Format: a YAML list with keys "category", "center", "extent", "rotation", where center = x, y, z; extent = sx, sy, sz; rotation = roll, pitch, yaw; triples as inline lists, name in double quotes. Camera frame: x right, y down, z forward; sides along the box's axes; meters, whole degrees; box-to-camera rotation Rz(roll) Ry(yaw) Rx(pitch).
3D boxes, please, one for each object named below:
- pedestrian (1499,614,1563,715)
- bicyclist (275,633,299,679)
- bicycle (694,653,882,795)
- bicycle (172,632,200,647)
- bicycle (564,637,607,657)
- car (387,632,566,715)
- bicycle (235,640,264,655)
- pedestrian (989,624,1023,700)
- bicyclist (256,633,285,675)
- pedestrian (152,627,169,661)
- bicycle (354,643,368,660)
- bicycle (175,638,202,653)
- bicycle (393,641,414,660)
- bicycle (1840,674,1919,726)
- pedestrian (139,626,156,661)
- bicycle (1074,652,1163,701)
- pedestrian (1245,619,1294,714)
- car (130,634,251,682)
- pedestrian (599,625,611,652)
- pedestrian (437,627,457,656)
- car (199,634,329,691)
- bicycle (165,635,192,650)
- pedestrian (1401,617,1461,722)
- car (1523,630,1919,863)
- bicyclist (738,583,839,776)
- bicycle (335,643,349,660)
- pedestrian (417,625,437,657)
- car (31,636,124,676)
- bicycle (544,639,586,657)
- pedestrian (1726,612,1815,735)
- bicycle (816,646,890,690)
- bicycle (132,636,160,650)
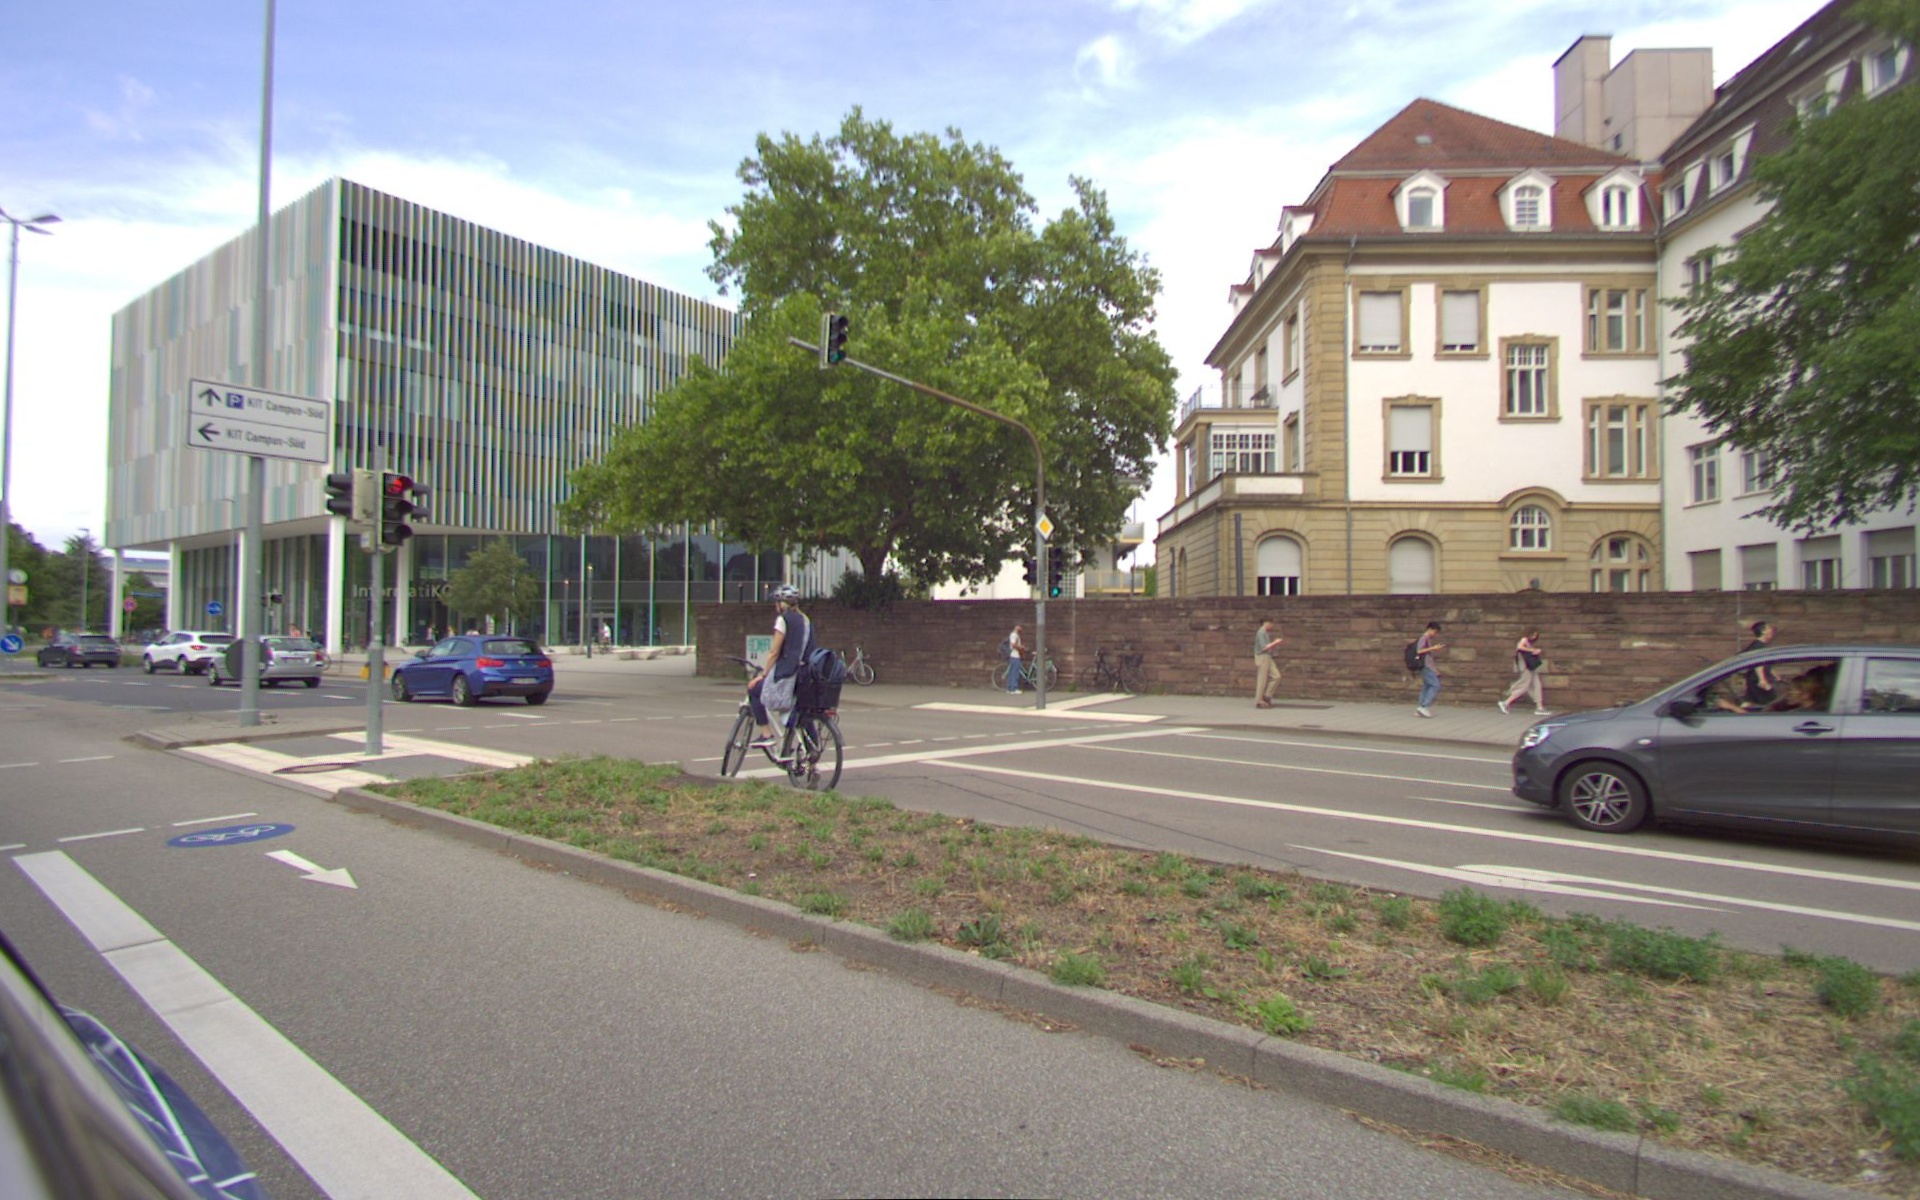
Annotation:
- category: "pedestrian"
  center: [10.457, 1.161, 18.549]
  extent: [0.775, 1.796, 0.759]
  rotation: [1, -1, 9]
- category: "bicyclist"
  center: [-26.996, 2.232, 40.580]
  extent: [0.558, 1.820, 0.597]
  rotation: [-1, -1, 23]
- category: "bicycle"
  center: [-1.517, 1.004, 8.685]
  extent: [1.927, 1.063, 0.567]
  rotation: [-2, -3, 44]
- category: "bicycle"
  center: [-57.451, 2.913, 75.160]
  extent: [0.388, 1.031, 1.565]
  rotation: [-1, -4, 32]
- category: "bicycle"
  center: [-21.889, 2.741, 59.236]
  extent: [0.792, 1.098, 2.663]
  rotation: [-1, -2, 22]
- category: "car"
  center: [-10.100, 1.454, 21.038]
  extent: [4.100, 1.523, 1.783]
  rotation: [-1, -2, 40]
- category: "bicycle"
  center: [-47.227, 3.165, 67.294]
  extent: [0.388, 0.944, 1.529]
  rotation: [-1, -1, 32]
- category: "pedestrian"
  center: [1.121, 1.498, 24.680]
  extent: [0.774, 1.796, 0.746]
  rotation: [1, -1, 6]
- category: "bicyclist"
  center: [-28.383, 2.201, 41.667]
  extent: [0.719, 1.685, 0.723]
  rotation: [-1, -1, 23]
- category: "pedestrian"
  center: [-43.444, 2.384, 54.991]
  extent: [0.623, 1.851, 0.506]
  rotation: [-3, -3, 36]
- category: "bicycle"
  center: [-35.526, 3.058, 60.037]
  extent: [0.387, 0.944, 1.603]
  rotation: [-1, 0, -20]
- category: "bicycle"
  center: [-56.919, 3.345, 74.695]
  extent: [0.388, 1.031, 1.565]
  rotation: [-1, -1, 32]
- category: "bicycle"
  center: [-32.930, 2.976, 59.906]
  extent: [0.388, 1.037, 1.546]
  rotation: [-1, 0, 0]
- category: "bicycle"
  center: [15.462, 1.623, 16.489]
  extent: [1.615, 0.803, 0.437]
  rotation: [-2, -1, 31]
- category: "pedestrian"
  center: [-43.782, 2.350, 54.558]
  extent: [0.771, 1.851, 0.506]
  rotation: [-3, -3, 37]
- category: "bicycle"
  center: [3.691, 1.776, 23.643]
  extent: [1.975, 1.066, 0.544]
  rotation: [-2, 0, 34]
- category: "pedestrian"
  center: [6.064, 1.283, 19.881]
  extent: [0.774, 1.796, 0.745]
  rotation: [1, -1, 8]
- category: "car"
  center: [-28.275, 2.087, 37.171]
  extent: [4.402, 1.665, 1.852]
  rotation: [-1, -2, 28]
- category: "pedestrian"
  center: [-22.959, 2.485, 65.431]
  extent: [0.626, 1.792, 0.597]
  rotation: [0, -2, -8]
- category: "pedestrian"
  center: [-28.330, 2.301, 55.887]
  extent: [0.670, 1.612, 0.729]
  rotation: [0, -2, 6]
- category: "car"
  center: [-19.663, 1.707, 28.550]
  extent: [4.282, 1.500, 1.784]
  rotation: [-2, -3, 38]
- category: "bicycle"
  center: [-58.390, 3.160, 75.665]
  extent: [0.388, 1.031, 1.565]
  rotation: [-1, -1, 32]
- category: "pedestrian"
  center: [8.349, 1.217, 17.970]
  extent: [0.775, 1.796, 0.759]
  rotation: [1, -1, 10]
- category: "car"
  center: [6.356, 0.988, 7.420]
  extent: [3.635, 1.500, 1.555]
  rotation: [-2, -4, 42]
- category: "bicyclist"
  center: [-1.488, 0.668, 8.784]
  extent: [0.699, 1.586, 0.565]
  rotation: [-2, -3, 44]
- category: "bicycle"
  center: [-36.579, 3.063, 59.911]
  extent: [0.387, 0.944, 1.603]
  rotation: [-1, 0, -20]
- category: "pedestrian"
  center: [-29.323, 2.248, 55.657]
  extent: [0.669, 1.753, 0.729]
  rotation: [0, -2, 3]
- category: "car"
  center: [-38.065, 2.356, 43.631]
  extent: [4.732, 1.628, 1.881]
  rotation: [-1, -3, 34]
- category: "bicycle"
  center: [-23.223, 2.804, 59.549]
  extent: [0.668, 1.007, 2.663]
  rotation: [-1, -2, 22]
- category: "pedestrian"
  center: [12.296, 1.098, 15.379]
  extent: [0.776, 1.796, 0.758]
  rotation: [1, -1, 12]
- category: "bicycle"
  center: [-2.945, 1.850, 27.787]
  extent: [2.160, 1.134, 0.572]
  rotation: [-2, 0, 36]
- category: "bicycle"
  center: [-65.101, 3.406, 80.920]
  extent: [0.433, 1.031, 1.686]
  rotation: [-1, -1, 32]
